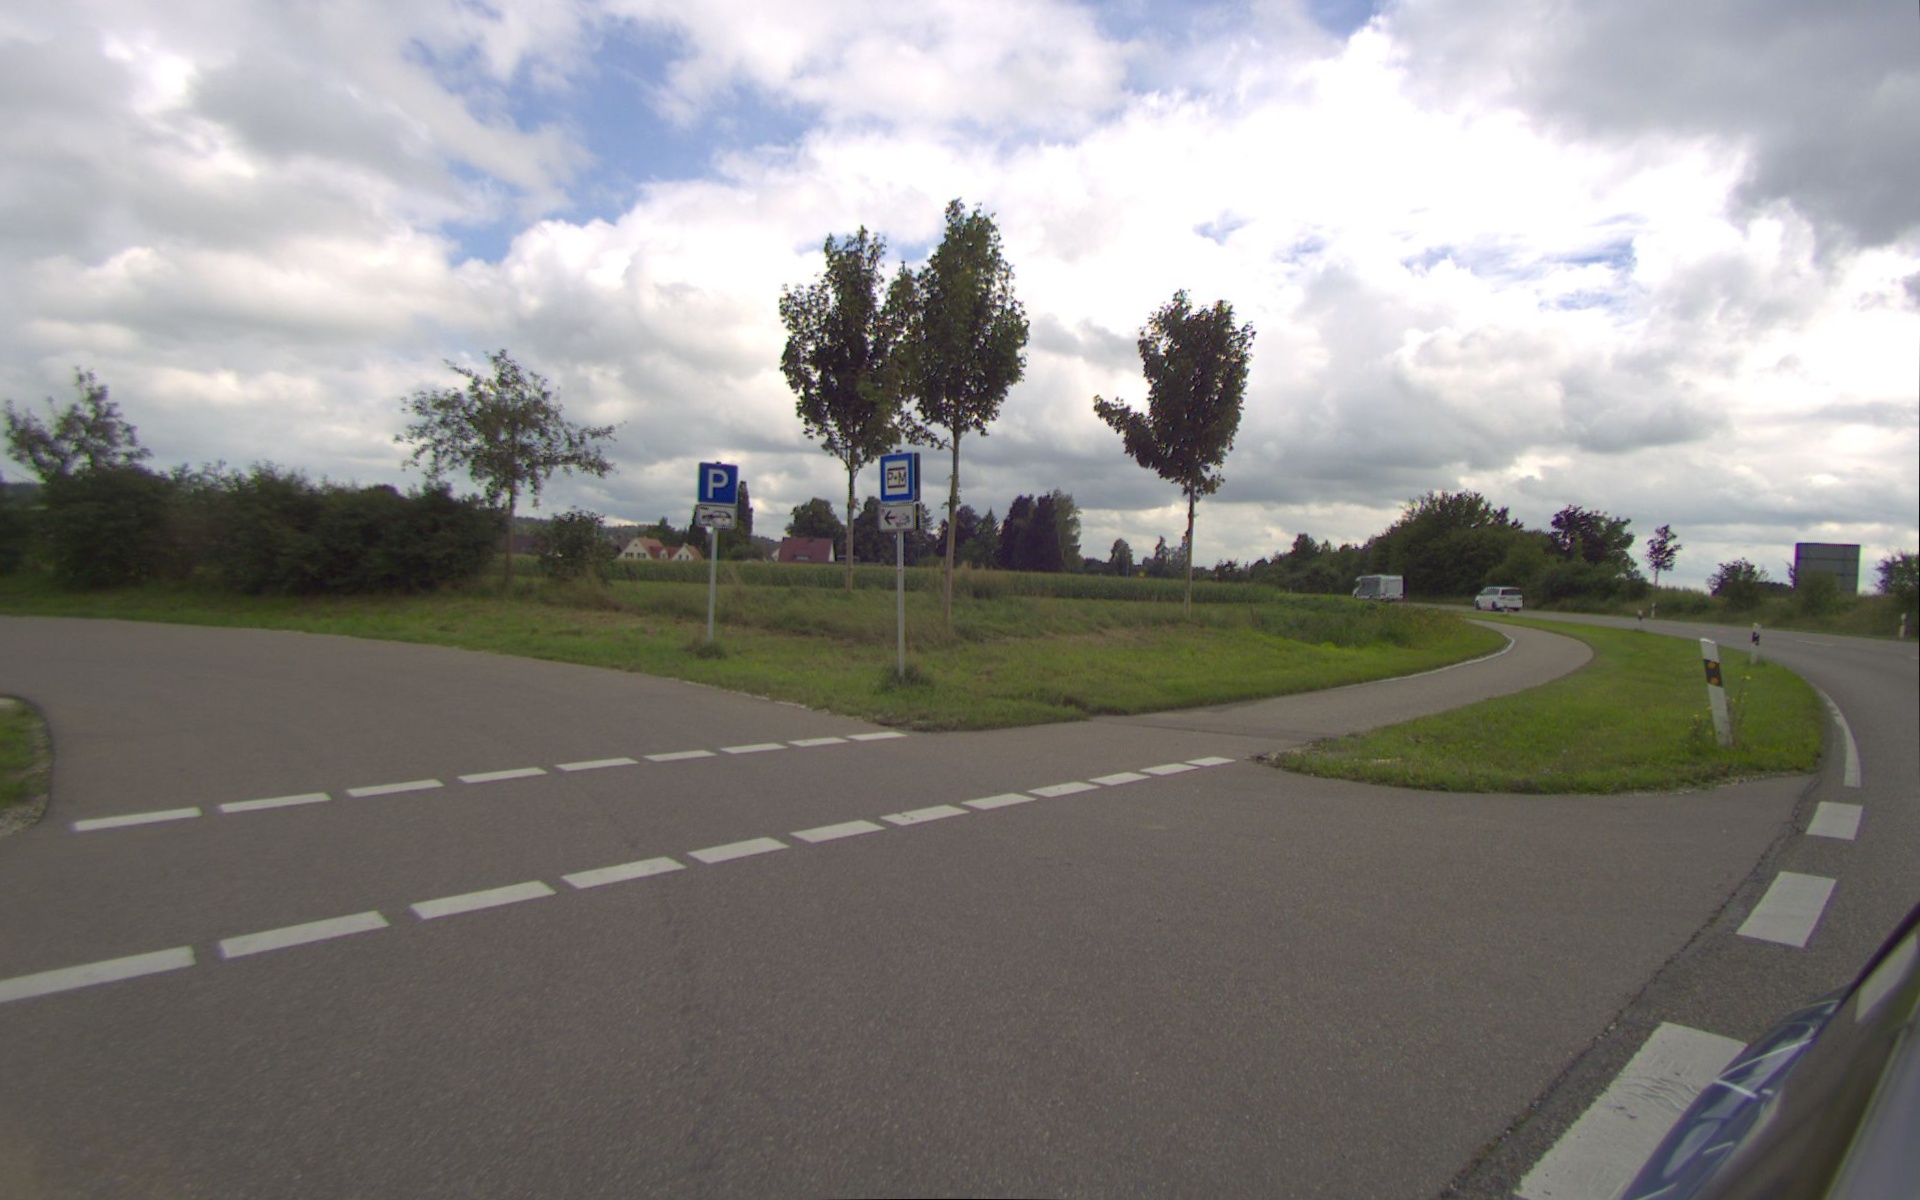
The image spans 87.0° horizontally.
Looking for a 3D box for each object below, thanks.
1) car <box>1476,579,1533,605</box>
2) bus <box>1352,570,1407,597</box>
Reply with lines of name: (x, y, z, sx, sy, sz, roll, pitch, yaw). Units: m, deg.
car: (44.111, -0.683, 82.101, 2.082, 1.892, 5.182, 2, 2, 4)
bus: (44.030, -1.795, 106.516, 2.437, 2.745, 8.429, 1, 2, 1)
